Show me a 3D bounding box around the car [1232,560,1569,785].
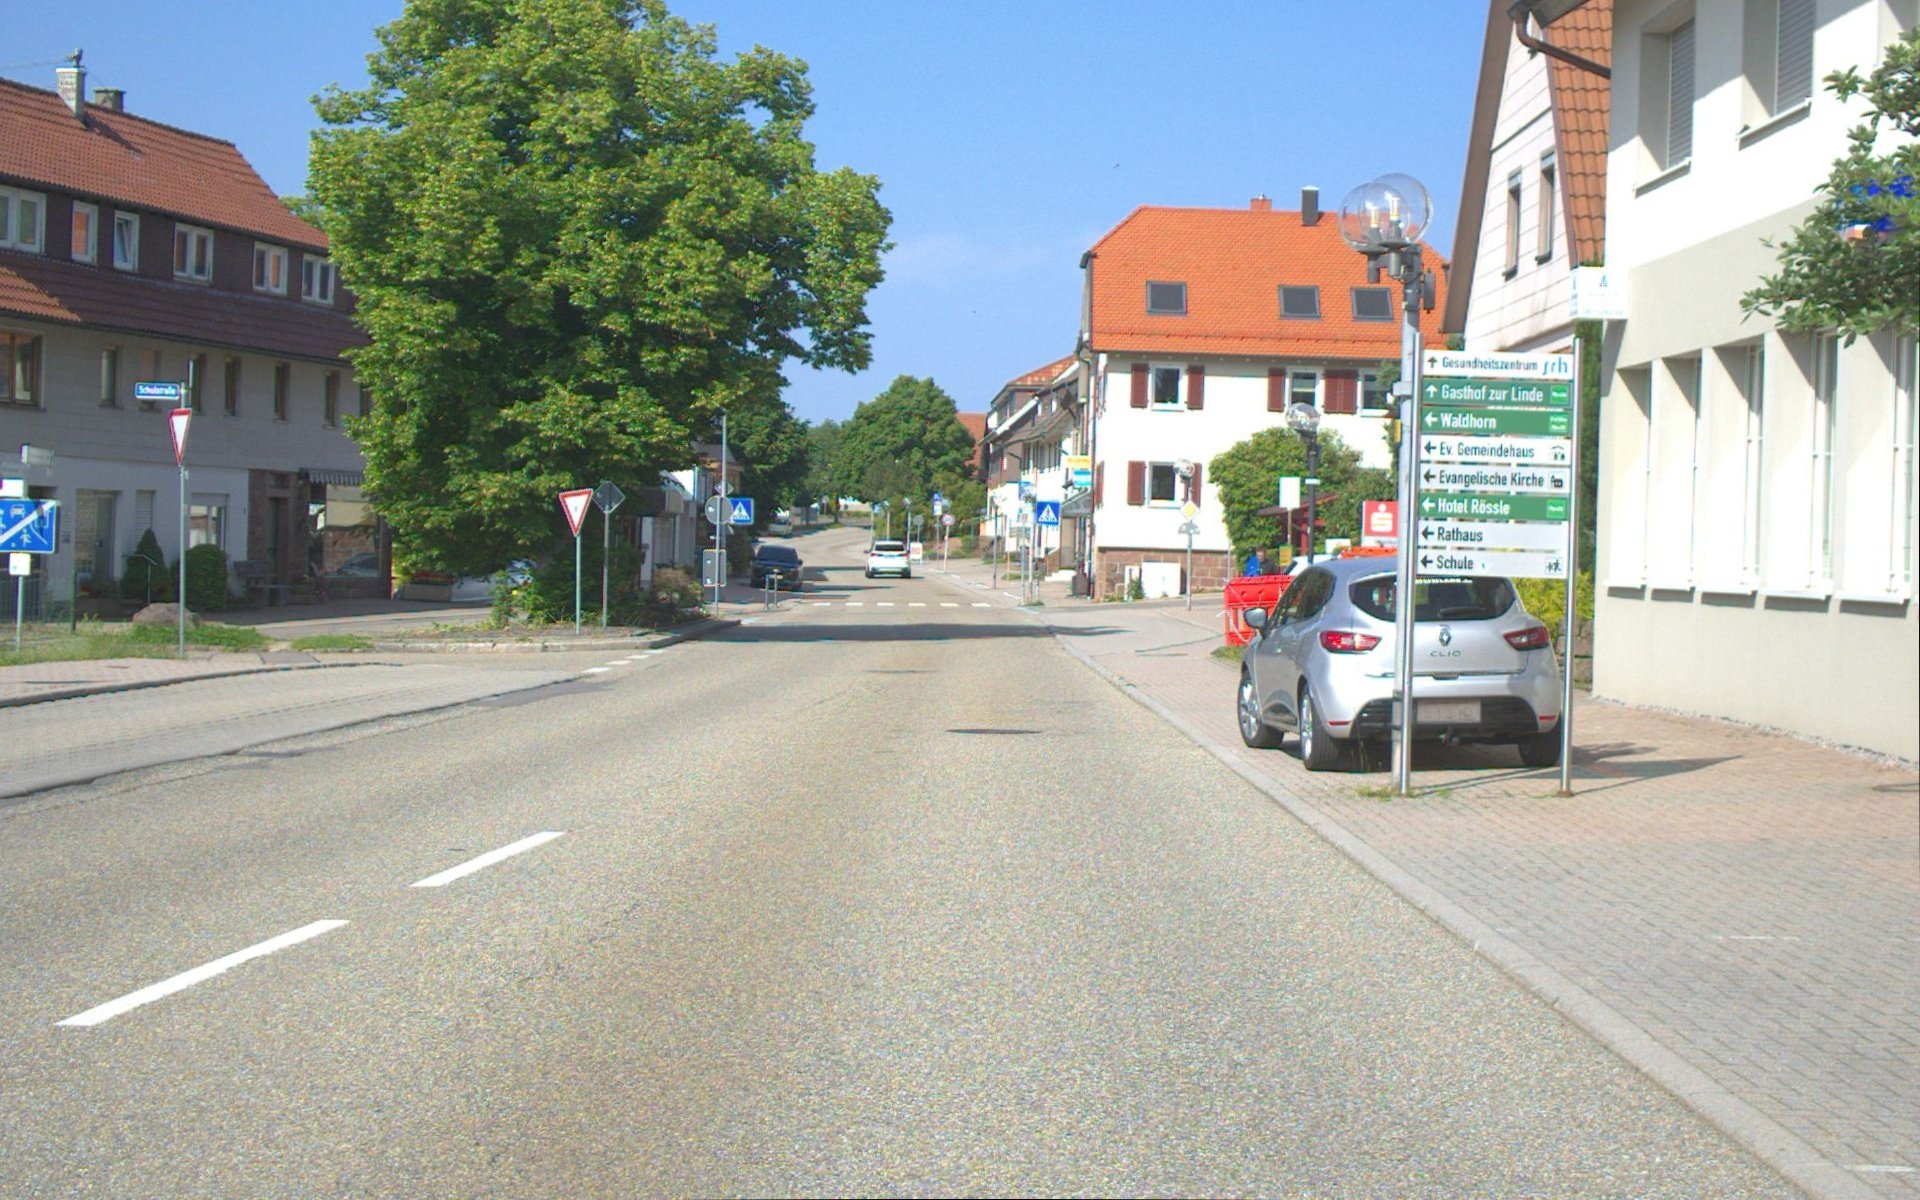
[{"bbox_3d":[3.031,0.450,24.394,1.635,1.415,3.936,-1,1,-4],"label":"car"}]

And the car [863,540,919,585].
[{"bbox_3d":[-3.210,-1.766,159.946,2.495,2.007,4.305,-1,1,-1],"label":"car"}]

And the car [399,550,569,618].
[{"bbox_3d":[-11.735,-0.382,84.811,3.761,1.450,1.816,-1,-5,12],"label":"car"}]

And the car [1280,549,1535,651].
[{"bbox_3d":[7.181,-0.021,55.060,3.864,1.553,1.962,1,1,13],"label":"car"}]

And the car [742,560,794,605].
[{"bbox_3d":[-7.277,-0.682,130.677,1.672,1.528,3.535,5,1,-1],"label":"car"}]

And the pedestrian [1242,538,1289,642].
[{"bbox_3d":[5.263,-0.179,59.299,0.799,1.778,0.979,0,1,5],"label":"pedestrian"}]
